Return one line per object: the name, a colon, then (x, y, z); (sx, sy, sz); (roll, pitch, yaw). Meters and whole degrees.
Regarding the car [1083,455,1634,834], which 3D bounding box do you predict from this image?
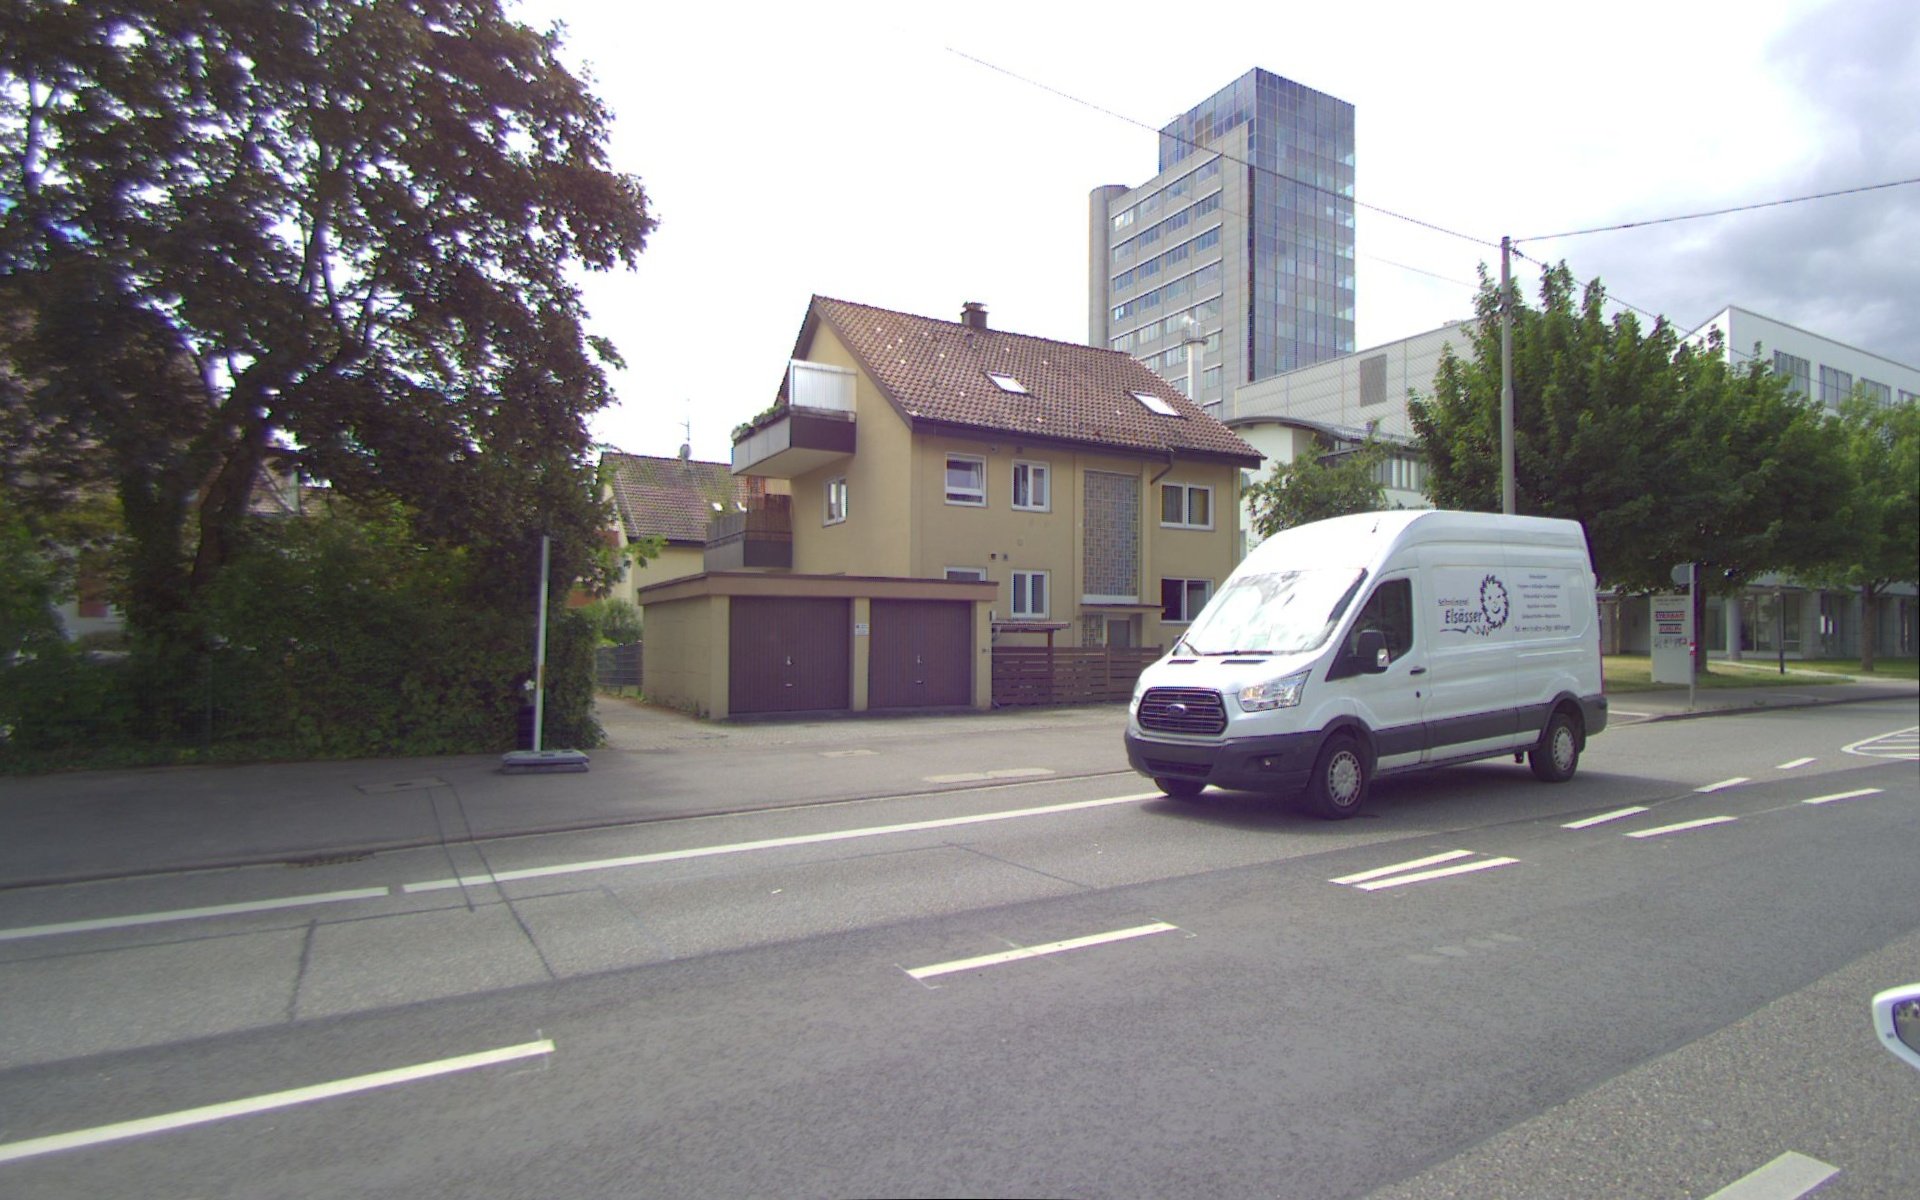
car: (4.268, 0.431, 10.206); (6.085, 2.856, 2.131); (1, -3, -35)
